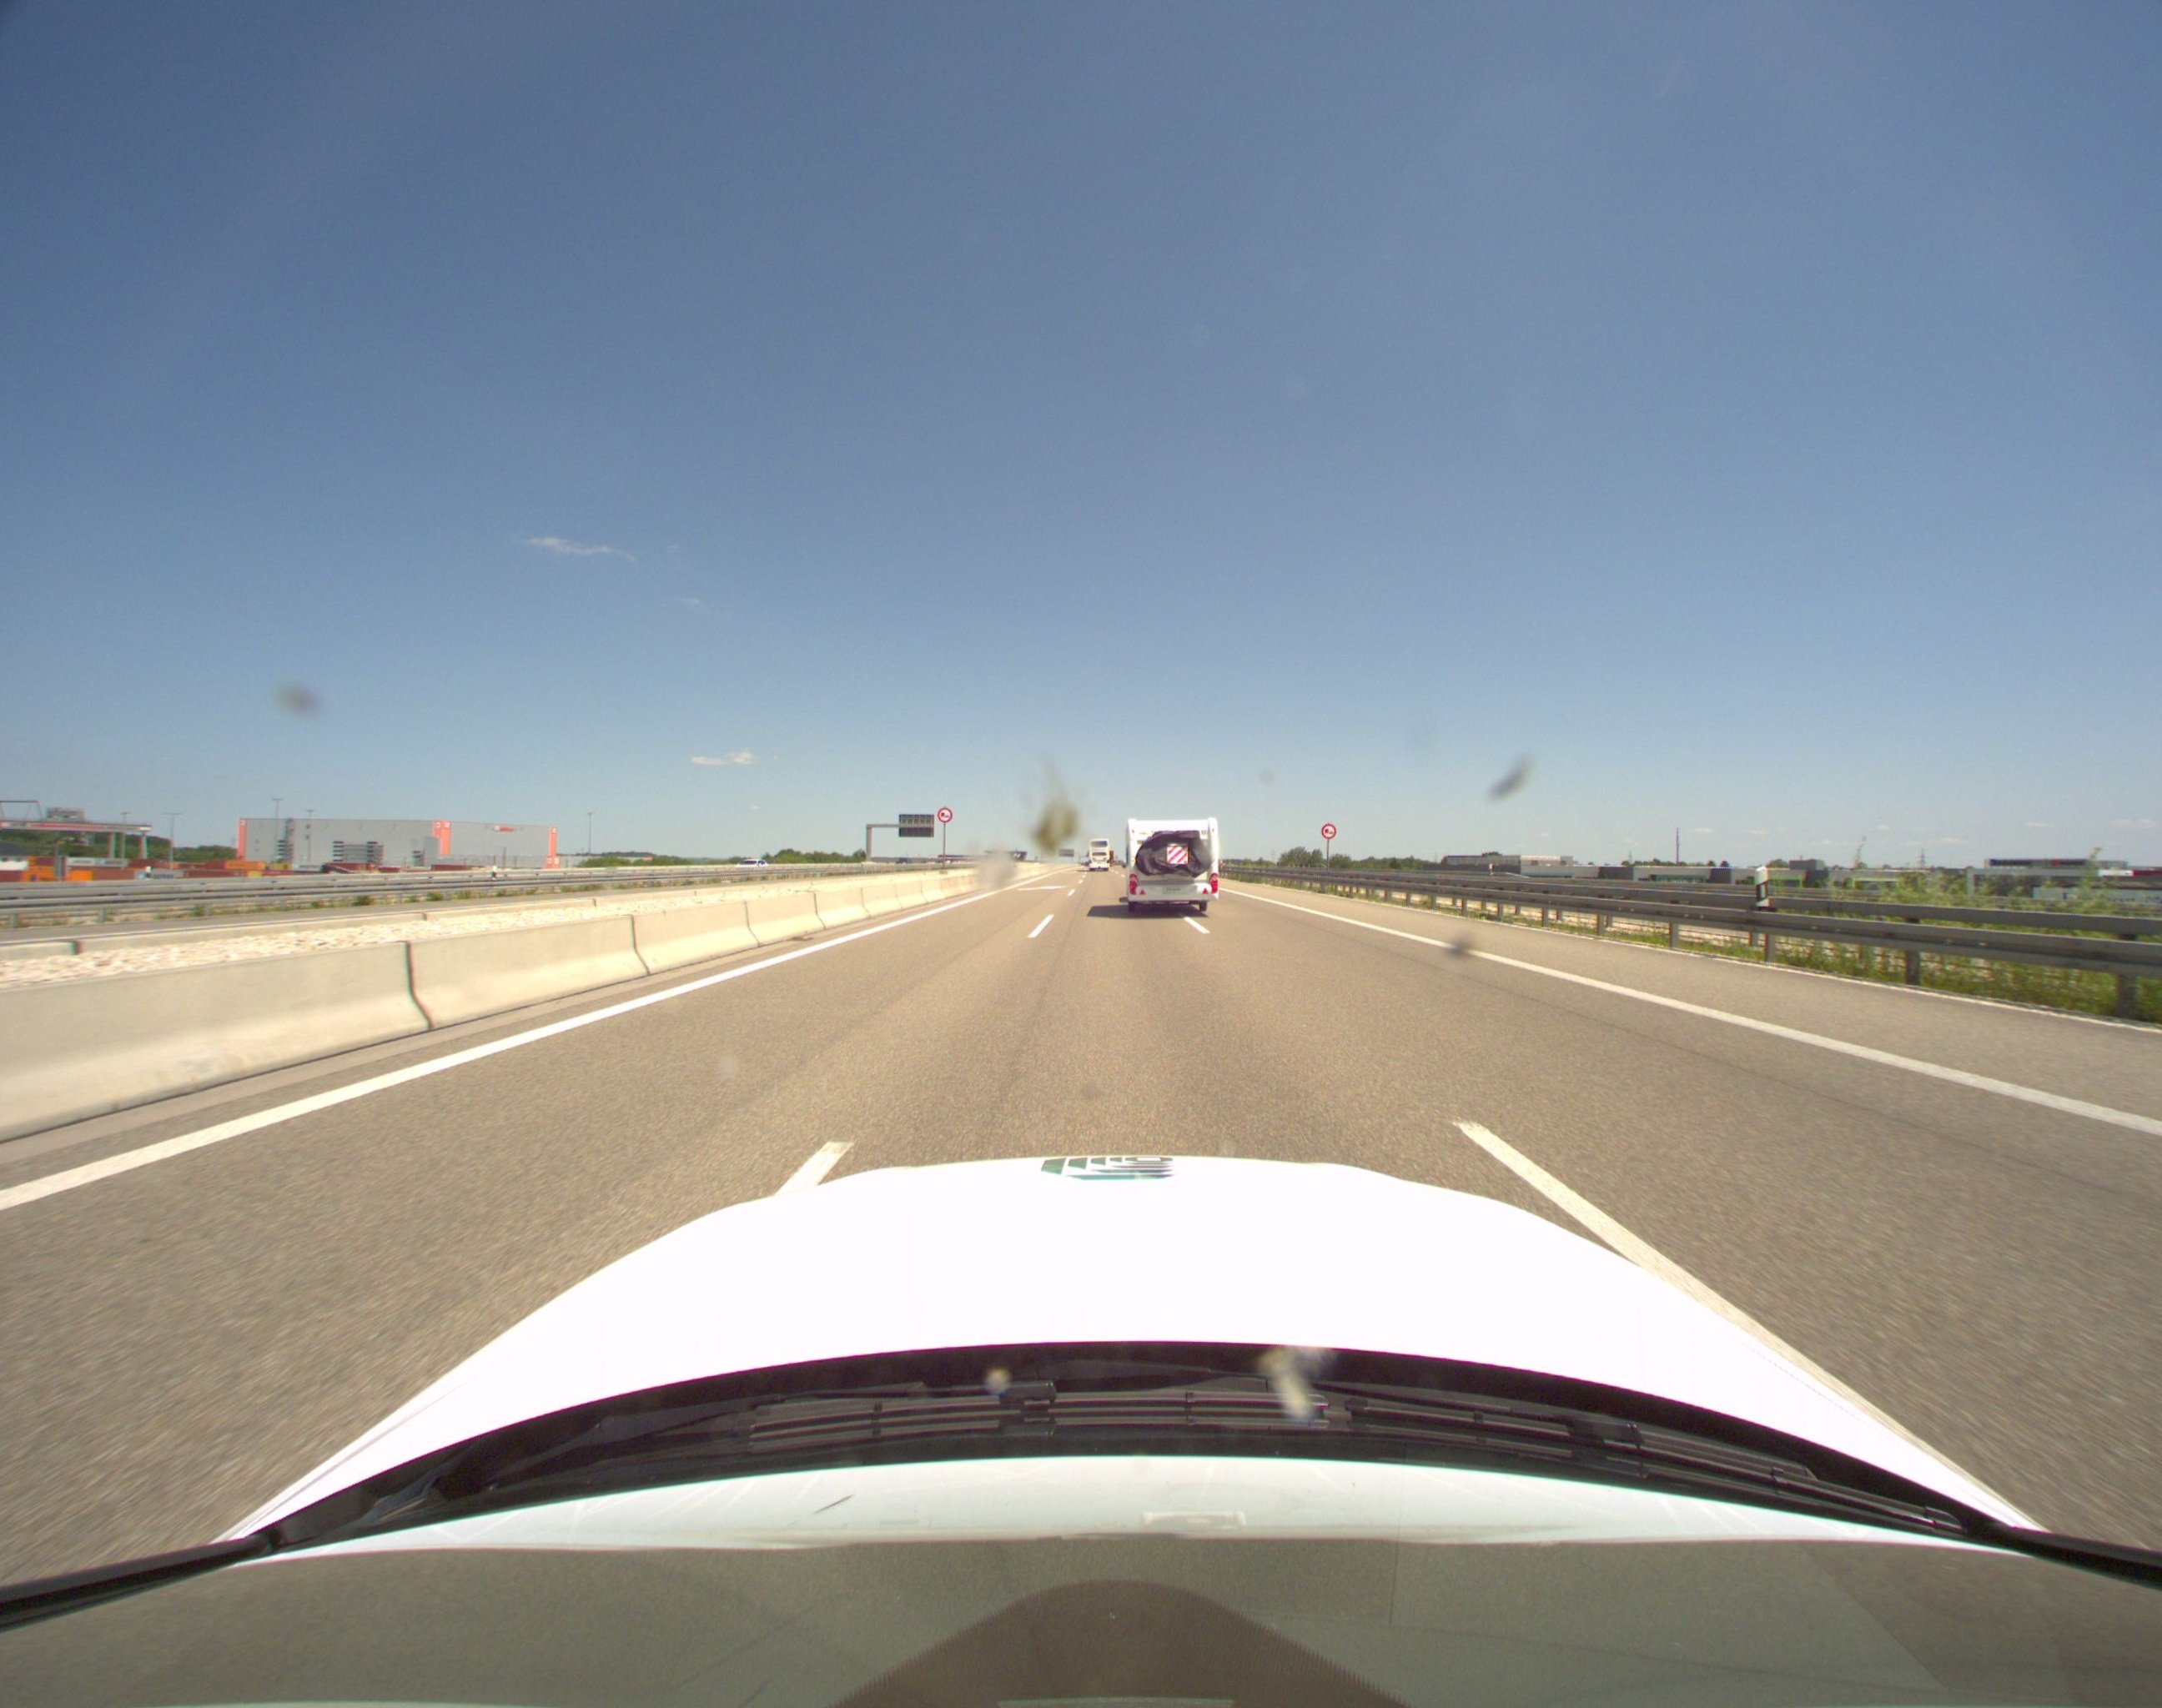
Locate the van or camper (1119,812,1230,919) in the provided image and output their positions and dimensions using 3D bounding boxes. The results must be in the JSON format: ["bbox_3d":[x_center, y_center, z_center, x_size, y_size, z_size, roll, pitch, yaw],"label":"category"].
[{"bbox_3d":[2.473,0.305,23.859,2.503,2.593,7.818,0,0,1],"label":"van or camper"}]

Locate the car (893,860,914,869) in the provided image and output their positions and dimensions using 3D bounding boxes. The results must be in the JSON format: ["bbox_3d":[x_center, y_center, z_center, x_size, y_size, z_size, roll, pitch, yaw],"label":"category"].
[{"bbox_3d":[-27.923,1.604,128.238,1.985,1.379,4.365,-1,0,3],"label":"car"}]

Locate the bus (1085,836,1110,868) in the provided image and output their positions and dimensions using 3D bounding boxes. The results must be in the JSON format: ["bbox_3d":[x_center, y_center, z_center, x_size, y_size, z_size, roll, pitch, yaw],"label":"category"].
[{"bbox_3d":[2.044,-0.201,106.097,2.971,3.975,9.101,0,-1,-1],"label":"bus"}]

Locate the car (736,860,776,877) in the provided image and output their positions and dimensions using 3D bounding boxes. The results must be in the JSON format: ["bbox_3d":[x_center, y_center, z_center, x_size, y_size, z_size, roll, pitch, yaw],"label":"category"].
[{"bbox_3d":[-27.728,1.244,69.589,1.558,1.379,4.363,-1,0,2],"label":"car"}]

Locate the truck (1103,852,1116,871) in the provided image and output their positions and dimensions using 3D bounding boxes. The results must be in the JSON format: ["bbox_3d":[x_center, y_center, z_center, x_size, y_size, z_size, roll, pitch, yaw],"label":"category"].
[{"bbox_3d":[7.619,2.074,219.223,3.366,4.465,13.569,0,-3,2],"label":"truck"}]
